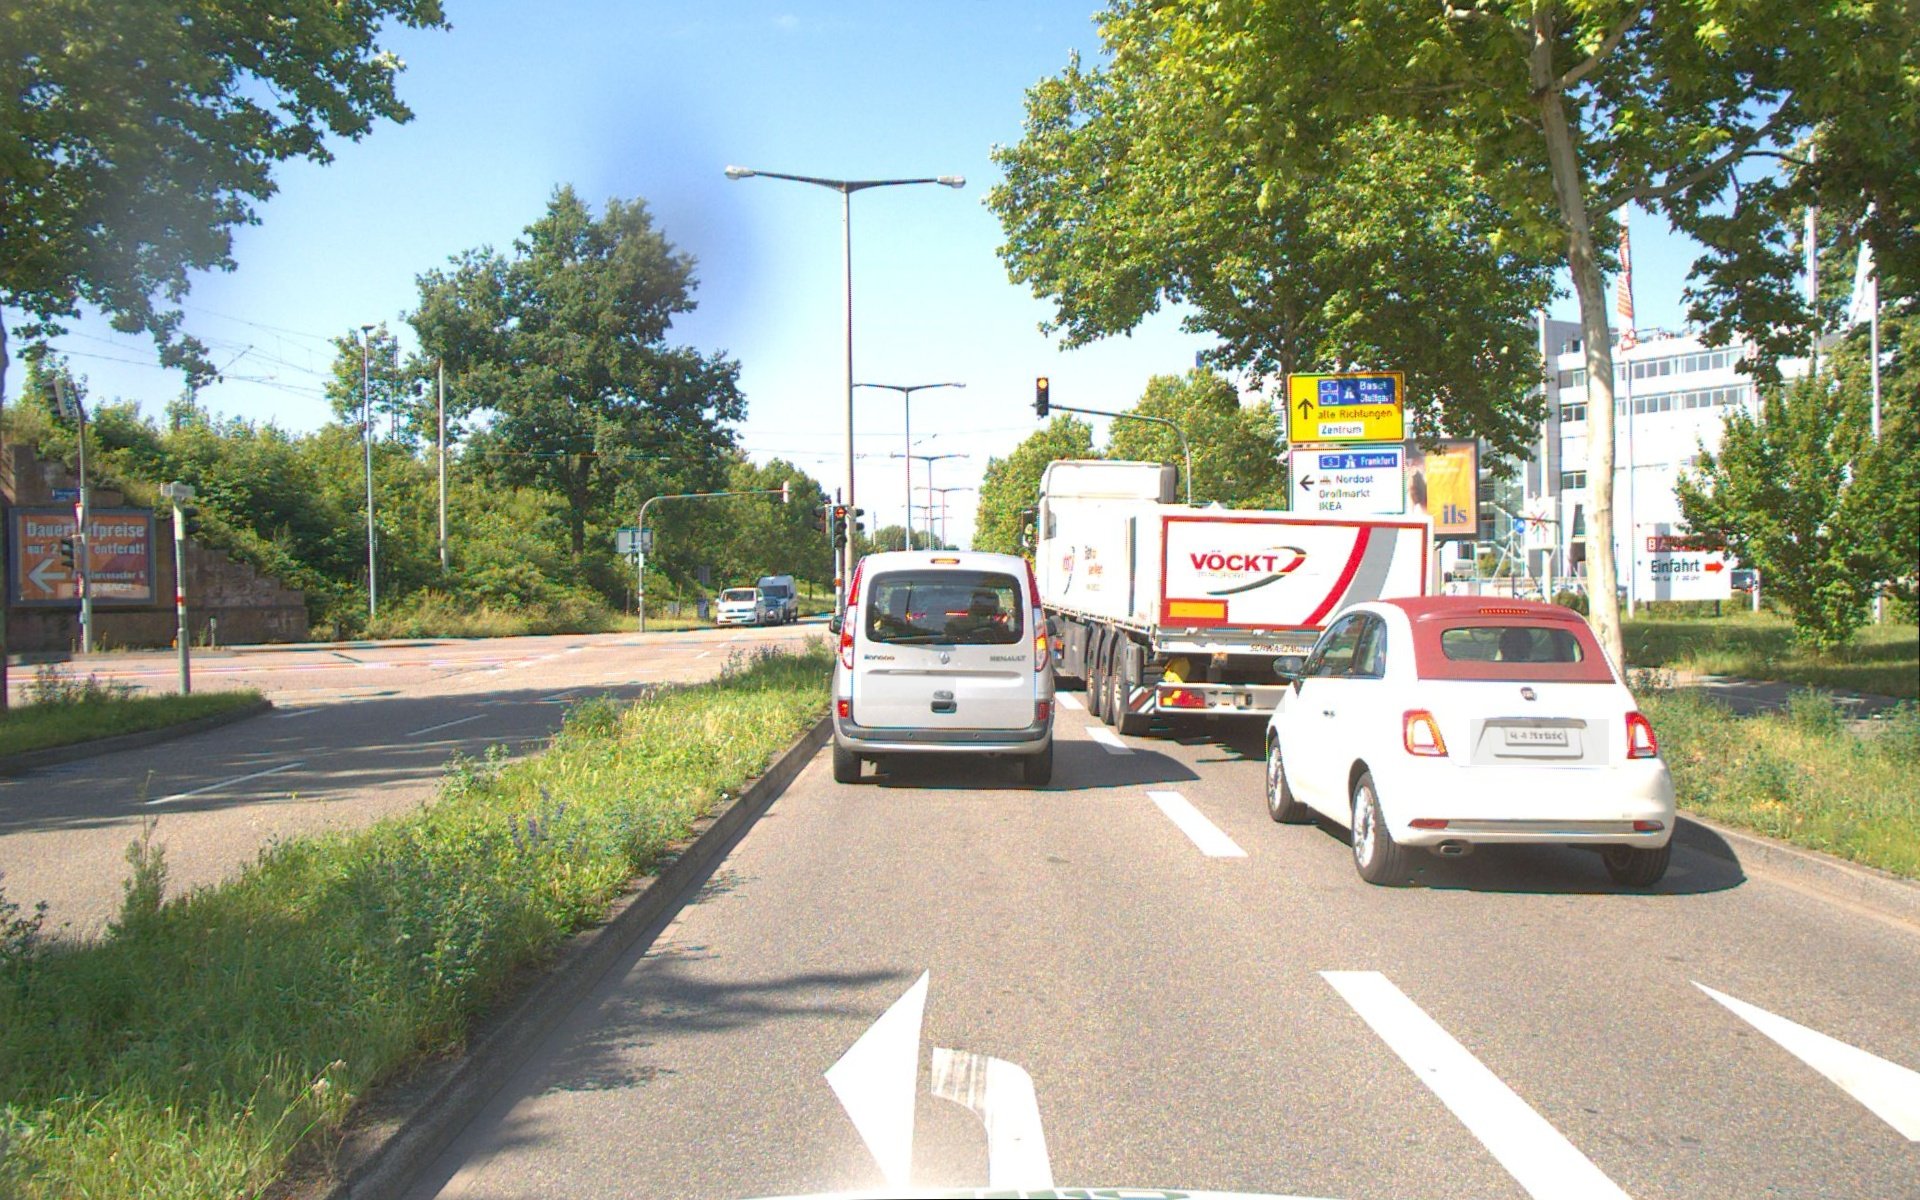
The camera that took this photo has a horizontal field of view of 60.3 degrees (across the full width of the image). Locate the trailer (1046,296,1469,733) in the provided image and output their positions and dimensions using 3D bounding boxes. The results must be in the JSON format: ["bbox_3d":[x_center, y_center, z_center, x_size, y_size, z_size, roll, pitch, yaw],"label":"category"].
[{"bbox_3d":[2.921,-0.755,20.566,2.954,3.806,12.238,0,0,-1],"label":"trailer"}]

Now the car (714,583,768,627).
[{"bbox_3d":[-10.347,0.228,78.381,1.953,1.924,4.986,-3,0,-2],"label":"car"}]

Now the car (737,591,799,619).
[{"bbox_3d":[-10.070,0.264,86.519,1.889,1.433,4.189,0,0,-27],"label":"car"}]

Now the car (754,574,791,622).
[{"bbox_3d":[-10.699,-0.131,94.215,2.019,2.660,5.861,0,0,-7],"label":"car"}]

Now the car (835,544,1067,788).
[{"bbox_3d":[-0.103,0.486,14.215,1.714,1.803,3.948,0,0,-1],"label":"car"}]

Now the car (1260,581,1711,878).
[{"bbox_3d":[2.918,0.637,9.941,1.627,1.461,3.520,0,0,1],"label":"car"}]

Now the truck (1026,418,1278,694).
[{"bbox_3d":[2.824,-0.618,26.781,3.009,3.823,7.474,0,0,-2],"label":"truck"}]

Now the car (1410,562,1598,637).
[{"bbox_3d":[12.724,-0.019,38.868,3.903,1.691,1.724,0,0,4],"label":"car"}]

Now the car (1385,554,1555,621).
[{"bbox_3d":[13.101,-0.316,42.662,3.903,1.691,1.724,0,0,4],"label":"car"}]
